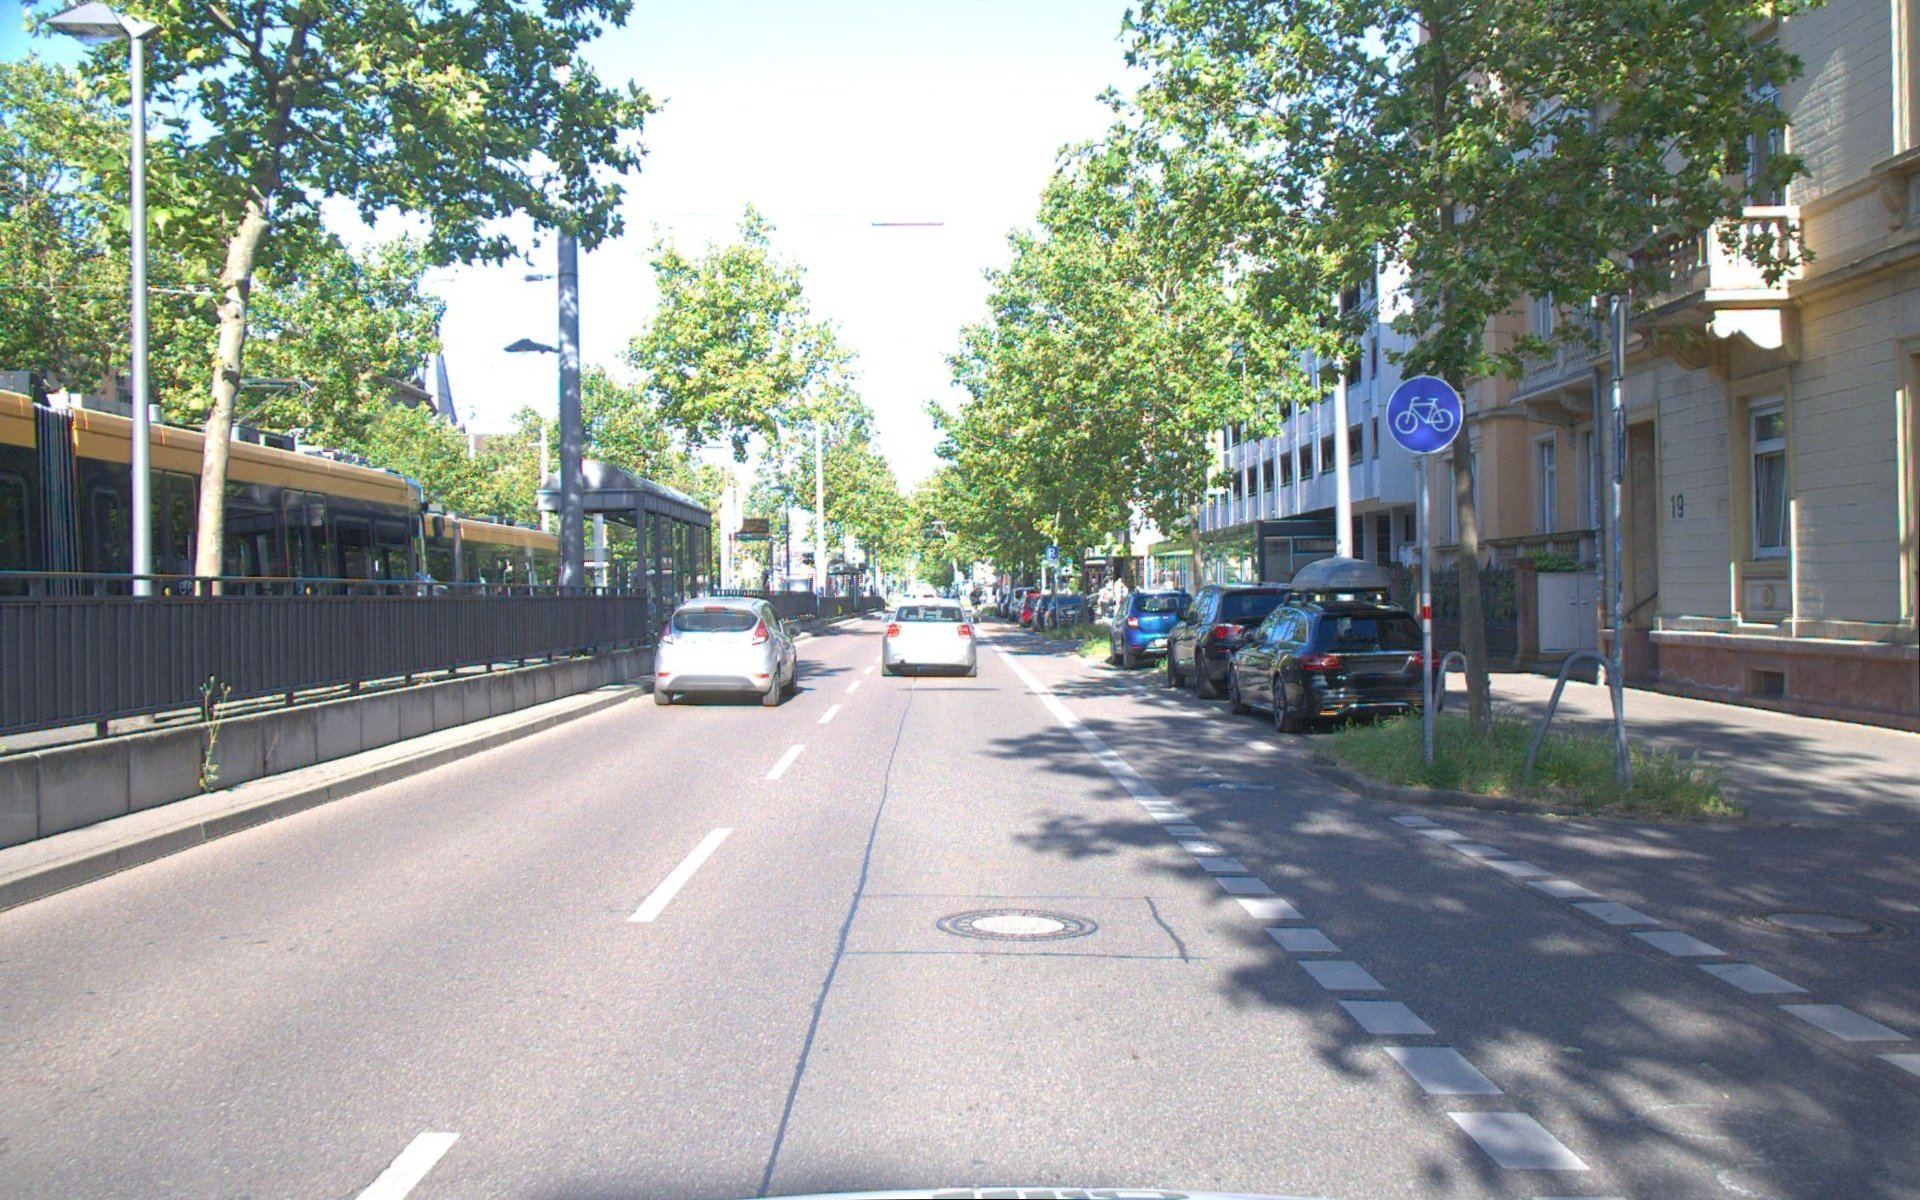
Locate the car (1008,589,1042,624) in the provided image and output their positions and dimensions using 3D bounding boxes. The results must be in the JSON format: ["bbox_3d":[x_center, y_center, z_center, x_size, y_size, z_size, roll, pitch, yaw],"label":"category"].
[{"bbox_3d":[3.603,0.350,92.249,1.689,1.913,4.000,1,0,0],"label":"car"}]

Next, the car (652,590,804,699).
[{"bbox_3d":[-3.194,0.568,23.389,1.613,1.386,3.759,1,1,0],"label":"car"}]

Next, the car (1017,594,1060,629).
[{"bbox_3d":[3.623,0.533,76.756,1.769,1.547,3.999,1,0,0],"label":"car"}]

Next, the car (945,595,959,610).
[{"bbox_3d":[-1.173,0.358,237.866,2.029,2.049,4.000,0,0,0],"label":"car"}]

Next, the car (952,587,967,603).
[{"bbox_3d":[-0.030,-0.700,225.426,1.953,2.049,3.999,-1,0,-1],"label":"car"}]

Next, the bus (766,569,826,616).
[{"bbox_3d":[-13.918,-0.686,142.486,2.810,3.692,24.601,-1,0,0],"label":"bus"}]

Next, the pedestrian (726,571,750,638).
[{"bbox_3d":[-6.716,0.131,50.050,0.626,1.988,0.813,1,0,-1],"label":"pedestrian"}]

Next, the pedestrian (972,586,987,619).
[{"bbox_3d":[1.219,0.140,102.354,0.820,2.049,0.649,1,0,6],"label":"pedestrian"}]

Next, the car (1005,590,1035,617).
[{"bbox_3d":[3.659,0.175,101.406,1.676,1.590,4.000,1,1,0],"label":"car"}]

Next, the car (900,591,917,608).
[{"bbox_3d":[-6.246,-0.058,201.362,1.953,2.049,4.000,1,1,0],"label":"car"}]

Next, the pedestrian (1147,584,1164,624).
[{"bbox_3d":[10.207,0.212,86.208,0.772,2.049,0.891,0,0,0],"label":"pedestrian"}]

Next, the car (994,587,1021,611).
[{"bbox_3d":[3.113,-0.079,108.461,1.666,1.561,3.716,1,1,0],"label":"car"}]

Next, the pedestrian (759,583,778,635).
[{"bbox_3d":[-7.486,0.344,64.591,0.626,1.988,0.813,1,0,-1],"label":"pedestrian"}]

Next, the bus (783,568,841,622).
[{"bbox_3d":[-10.930,-0.417,123.636,2.694,3.689,18.846,-1,0,0],"label":"bus"}]

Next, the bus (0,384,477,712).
[{"bbox_3d":[-9.943,-0.580,23.501,2.810,3.504,11.610,0,0,0],"label":"bus"}]

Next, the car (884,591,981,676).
[{"bbox_3d":[-0.536,0.591,31.510,1.726,1.457,3.999,1,1,-1],"label":"car"}]

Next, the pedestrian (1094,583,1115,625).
[{"bbox_3d":[7.159,0.202,82.152,0.944,2.049,0.938,0,0,-1],"label":"pedestrian"}]

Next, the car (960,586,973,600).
[{"bbox_3d":[1.012,-1.011,248.699,1.837,2.049,3.711,1,1,0],"label":"car"}]

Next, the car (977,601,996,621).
[{"bbox_3d":[2.804,1.137,175.841,1.953,2.049,4.000,1,1,0],"label":"car"}]

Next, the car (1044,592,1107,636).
[{"bbox_3d":[4.240,0.510,61.264,1.953,1.535,4.597,1,-1,0],"label":"car"}]

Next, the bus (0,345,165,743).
[{"bbox_3d":[-9.854,-0.476,11.499,2.810,3.504,12.213,0,0,0],"label":"bus"}]

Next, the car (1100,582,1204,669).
[{"bbox_3d":[4.027,0.484,35.237,1.657,1.687,4.039,-1,1,-1],"label":"car"}]

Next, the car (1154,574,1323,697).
[{"bbox_3d":[4.217,0.485,25.750,1.761,1.730,4.736,0,0,-1],"label":"car"}]

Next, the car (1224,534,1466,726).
[{"bbox_3d":[4.426,0.295,19.761,1.719,1.999,4.736,-1,1,-1],"label":"car"}]

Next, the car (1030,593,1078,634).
[{"bbox_3d":[3.754,0.513,66.462,1.635,1.578,4.000,1,1,0],"label":"car"}]
